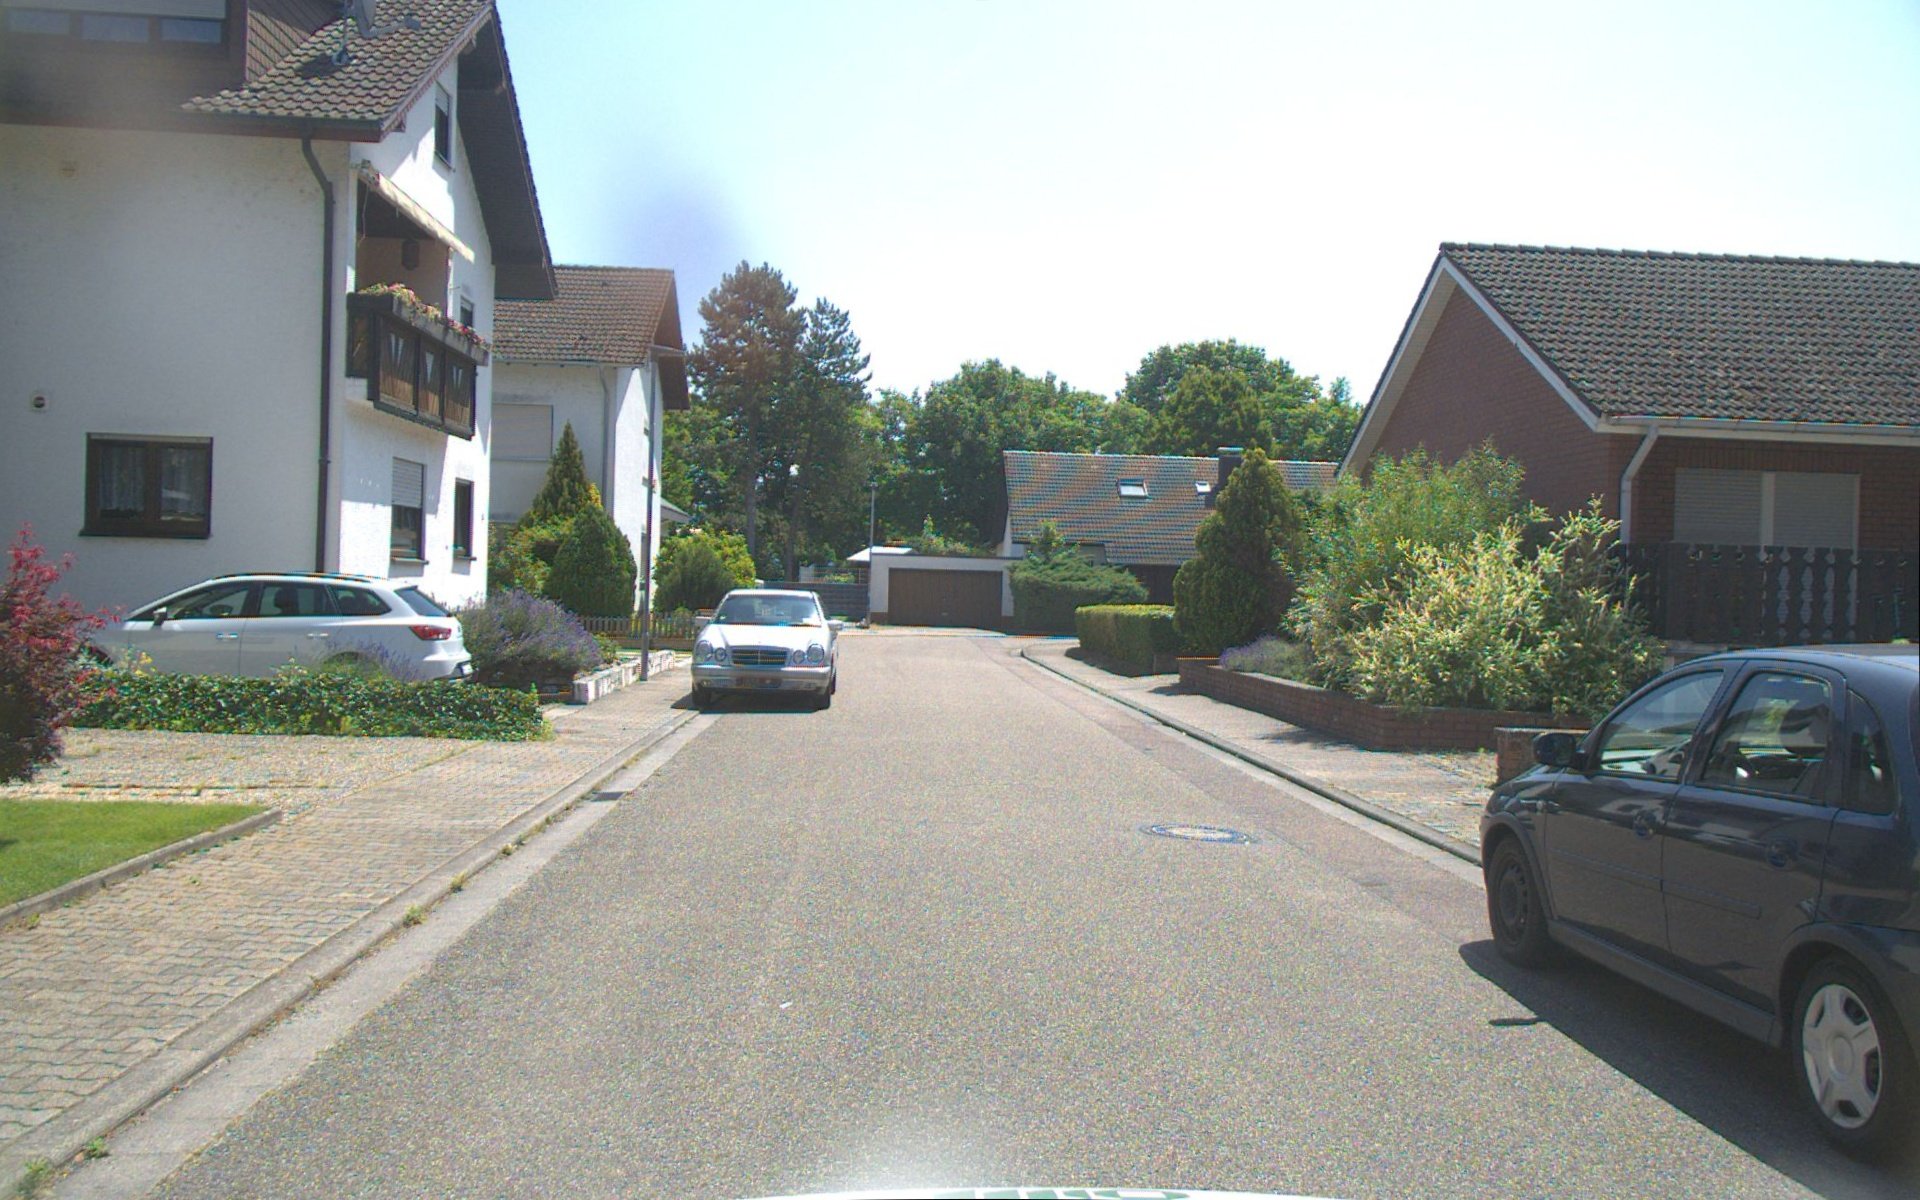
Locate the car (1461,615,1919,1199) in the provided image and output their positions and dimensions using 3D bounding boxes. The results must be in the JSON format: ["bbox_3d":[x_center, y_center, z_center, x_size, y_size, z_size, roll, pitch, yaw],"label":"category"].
[{"bbox_3d":[3.263,0.842,6.019,1.617,1.465,3.650,2,0,-2],"label":"car"}]

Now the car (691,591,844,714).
[{"bbox_3d":[-2.454,0.618,21.988,1.665,1.417,4.335,2,0,-2],"label":"car"}]

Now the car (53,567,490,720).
[{"bbox_3d":[-7.189,0.443,17.651,3.912,1.445,1.842,2,0,-9],"label":"car"}]
